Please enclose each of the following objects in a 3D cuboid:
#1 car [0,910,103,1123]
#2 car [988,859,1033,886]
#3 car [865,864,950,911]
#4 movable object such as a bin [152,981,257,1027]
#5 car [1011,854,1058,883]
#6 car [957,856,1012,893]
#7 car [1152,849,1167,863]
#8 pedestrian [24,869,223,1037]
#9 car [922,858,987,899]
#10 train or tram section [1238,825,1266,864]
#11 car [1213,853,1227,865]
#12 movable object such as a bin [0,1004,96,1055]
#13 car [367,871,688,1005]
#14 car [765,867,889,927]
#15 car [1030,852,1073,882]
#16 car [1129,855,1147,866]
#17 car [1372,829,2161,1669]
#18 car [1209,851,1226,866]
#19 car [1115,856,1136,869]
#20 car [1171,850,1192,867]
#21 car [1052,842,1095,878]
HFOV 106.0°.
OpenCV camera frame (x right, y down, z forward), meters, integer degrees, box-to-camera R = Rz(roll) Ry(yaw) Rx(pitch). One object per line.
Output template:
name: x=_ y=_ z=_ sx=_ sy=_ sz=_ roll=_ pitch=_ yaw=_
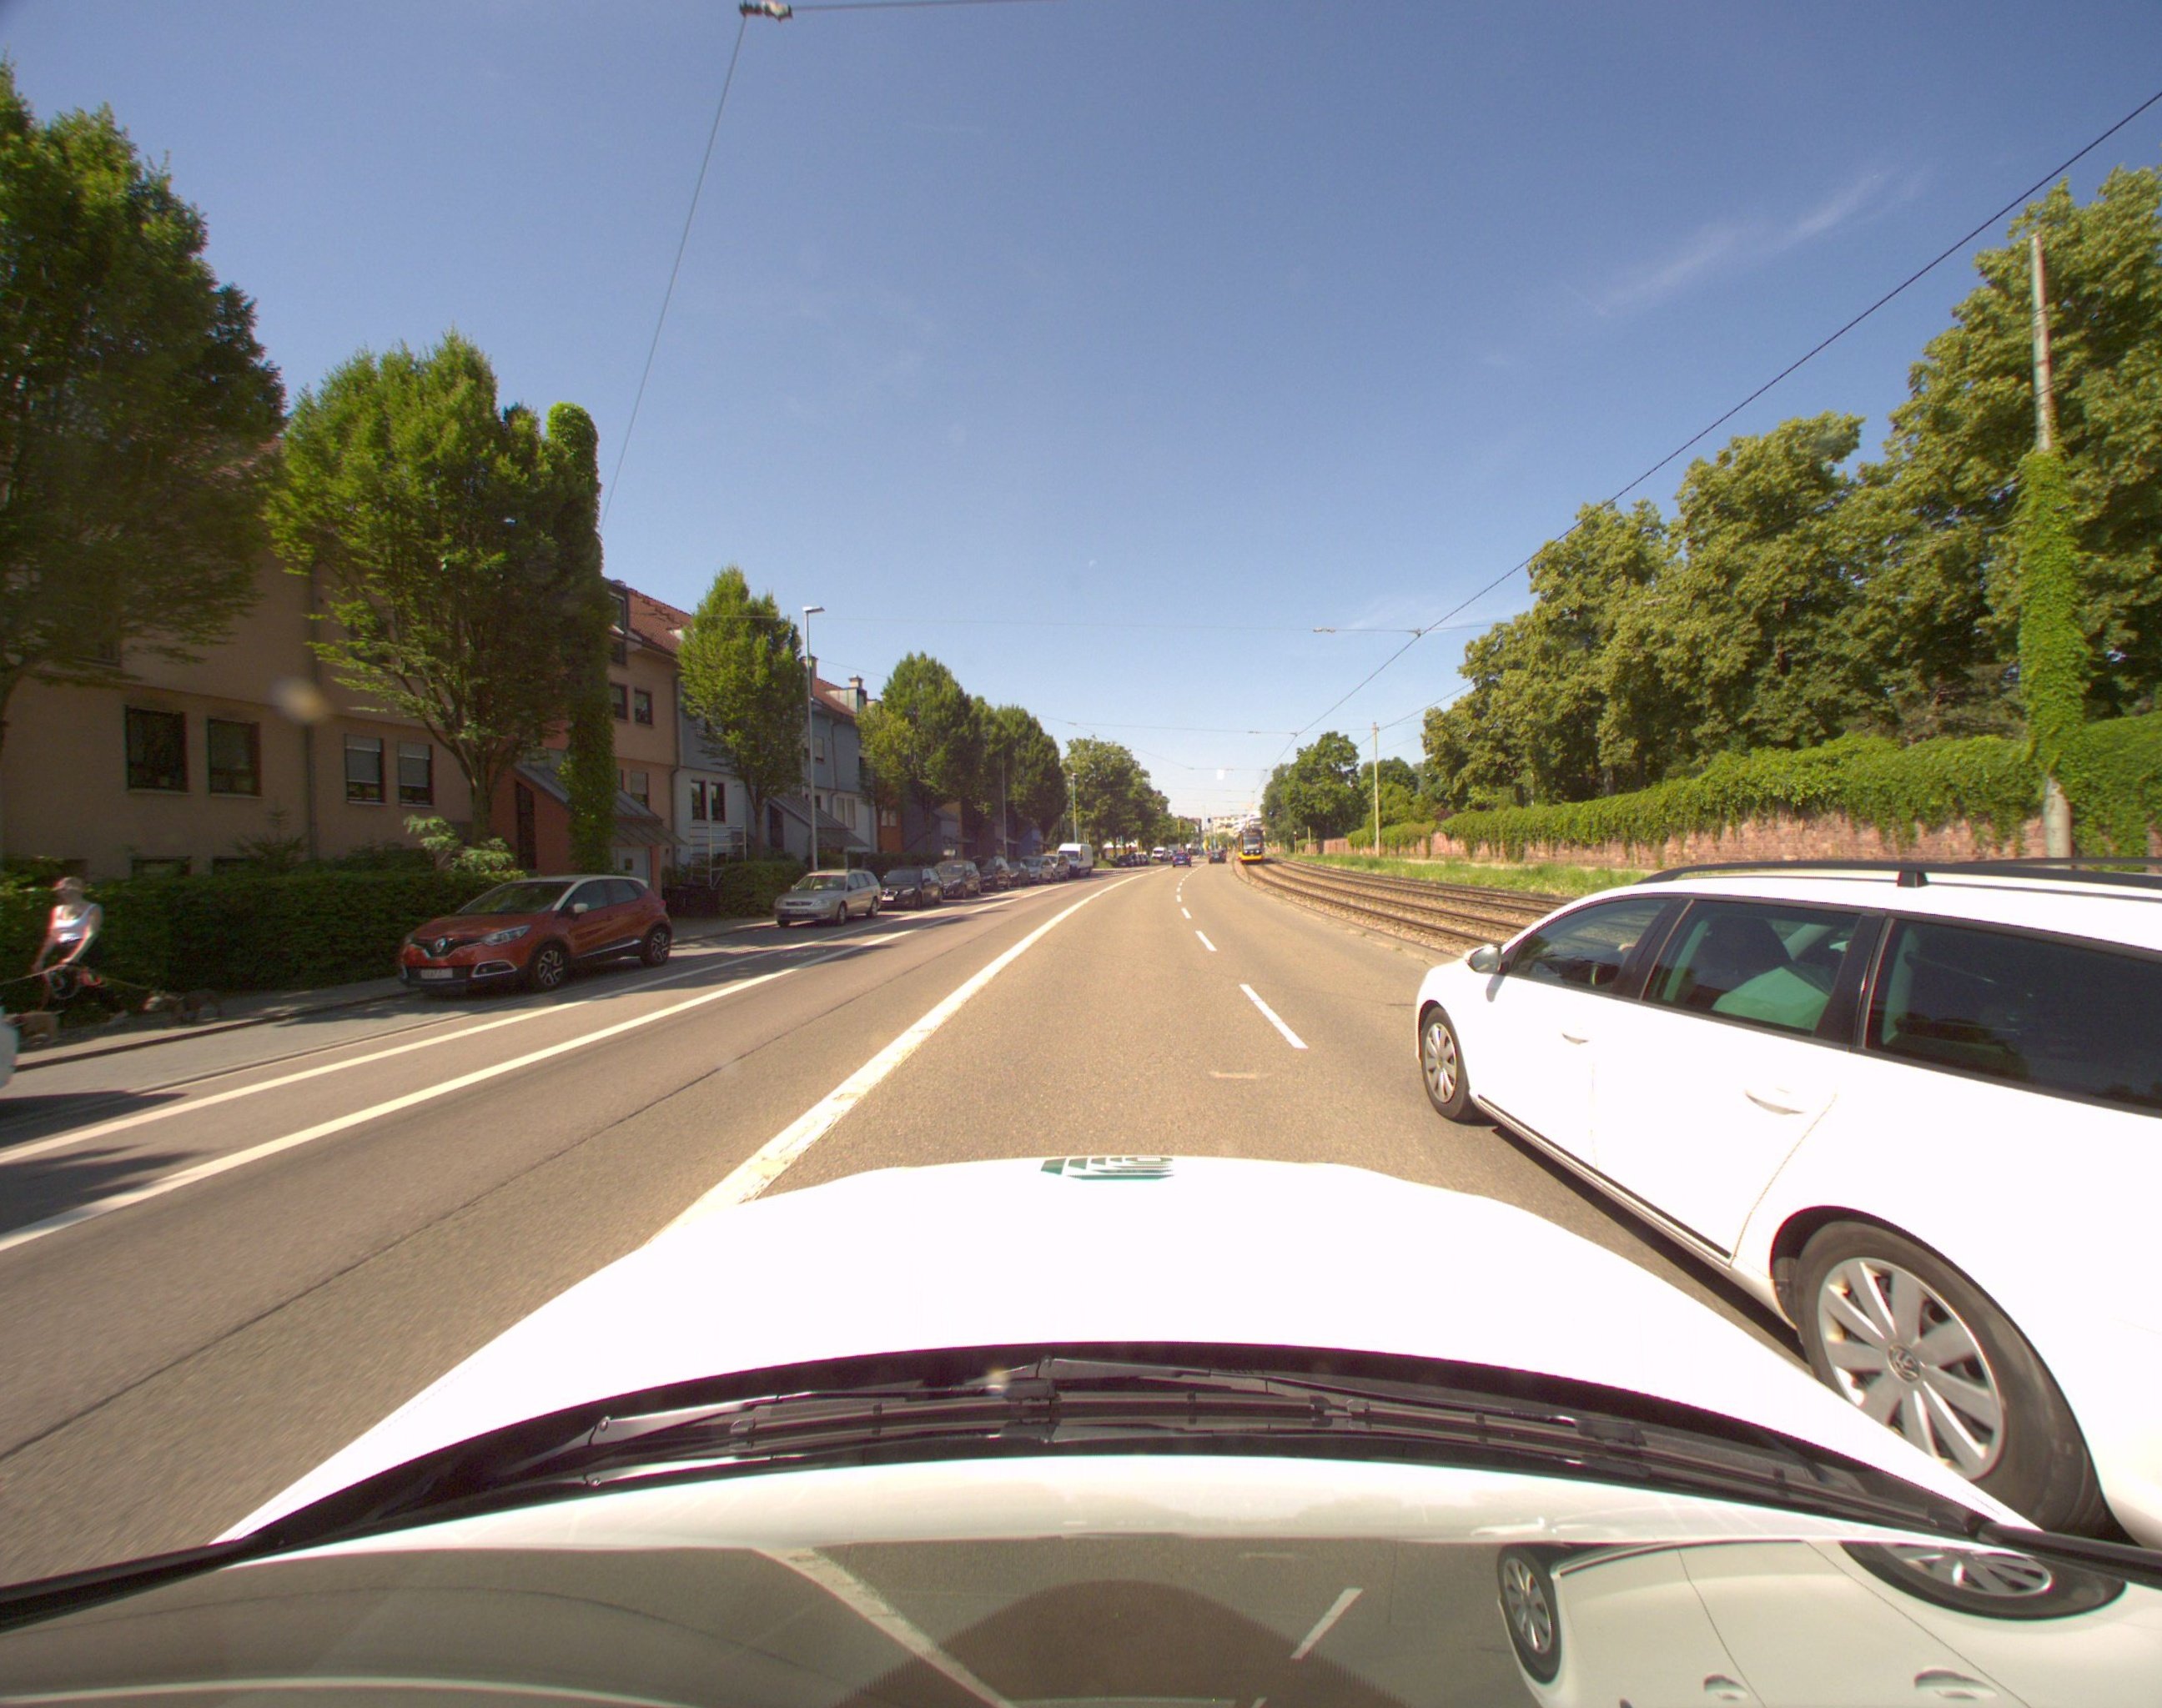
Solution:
car: x=-8.375 y=1.152 z=4.046 sx=1.750 sy=1.429 sz=4.284 roll=-1 pitch=0 yaw=2
car: x=-3.970 y=1.029 z=46.666 sx=1.681 sy=1.474 sz=4.057 roll=1 pitch=0 yaw=8
car: x=-6.206 y=1.159 z=29.767 sx=1.715 sy=1.474 sz=4.721 roll=-1 pitch=0 yaw=5
movable object such as a bin: x=-9.808 y=1.671 z=9.134 sx=0.325 sy=0.354 sz=0.756 roll=-2 pitch=0 yaw=2
car: x=-2.894 y=0.904 z=51.902 sx=1.789 sy=1.724 sz=4.924 roll=1 pitch=0 yaw=11
car: x=-4.782 y=0.965 z=41.137 sx=1.761 sy=1.723 sz=4.877 roll=0 pitch=0 yaw=5
car: x=13.677 y=0.314 z=142.020 sx=1.866 sy=2.415 sz=5.135 roll=-2 pitch=0 yaw=14
pedestrian: x=-10.514 y=1.037 z=8.995 sx=0.871 sy=1.690 sz=1.056 roll=-2 pitch=0 yaw=2
car: x=-5.475 y=1.030 z=35.718 sx=1.708 sy=1.625 sz=4.320 roll=-1 pitch=0 yaw=6
train or tram section: x=18.045 y=-0.980 z=85.988 sx=2.495 sy=3.747 sz=13.354 roll=-2 pitch=0 yaw=12
car: x=18.029 y=0.579 z=105.585 sx=1.789 sy=1.460 sz=4.011 roll=-2 pitch=0 yaw=10
movable object such as a bin: x=-10.211 y=1.703 z=7.916 sx=0.325 sy=0.339 sz=0.756 roll=-2 pitch=0 yaw=2
car: x=-7.988 y=1.094 z=12.359 sx=1.723 sy=1.552 sz=4.322 roll=-1 pitch=0 yaw=3
car: x=-7.093 y=1.150 z=23.319 sx=1.773 sy=1.483 sz=4.861 roll=-1 pitch=0 yaw=3
car: x=-2.026 y=0.871 z=57.343 sx=1.908 sy=1.948 sz=5.369 roll=1 pitch=0 yaw=10
car: x=7.561 y=0.898 z=108.218 sx=1.687 sy=1.352 sz=4.015 roll=-2 pitch=0 yaw=14
car: x=2.764 y=0.671 z=3.250 sx=1.685 sy=1.451 sz=4.460 roll=-2 pitch=0 yaw=2
car: x=15.397 y=0.495 z=91.766 sx=1.789 sy=1.507 sz=4.011 roll=-1 pitch=0 yaw=10
car: x=5.187 y=1.030 z=95.501 sx=1.687 sy=1.417 sz=4.015 roll=-2 pitch=0 yaw=14
car: x=9.604 y=0.402 z=77.882 sx=1.789 sy=1.507 sz=4.011 roll=-1 pitch=1 yaw=10
car: x=-0.524 y=0.445 z=65.407 sx=1.981 sy=2.714 sz=7.179 roll=1 pitch=0 yaw=11
